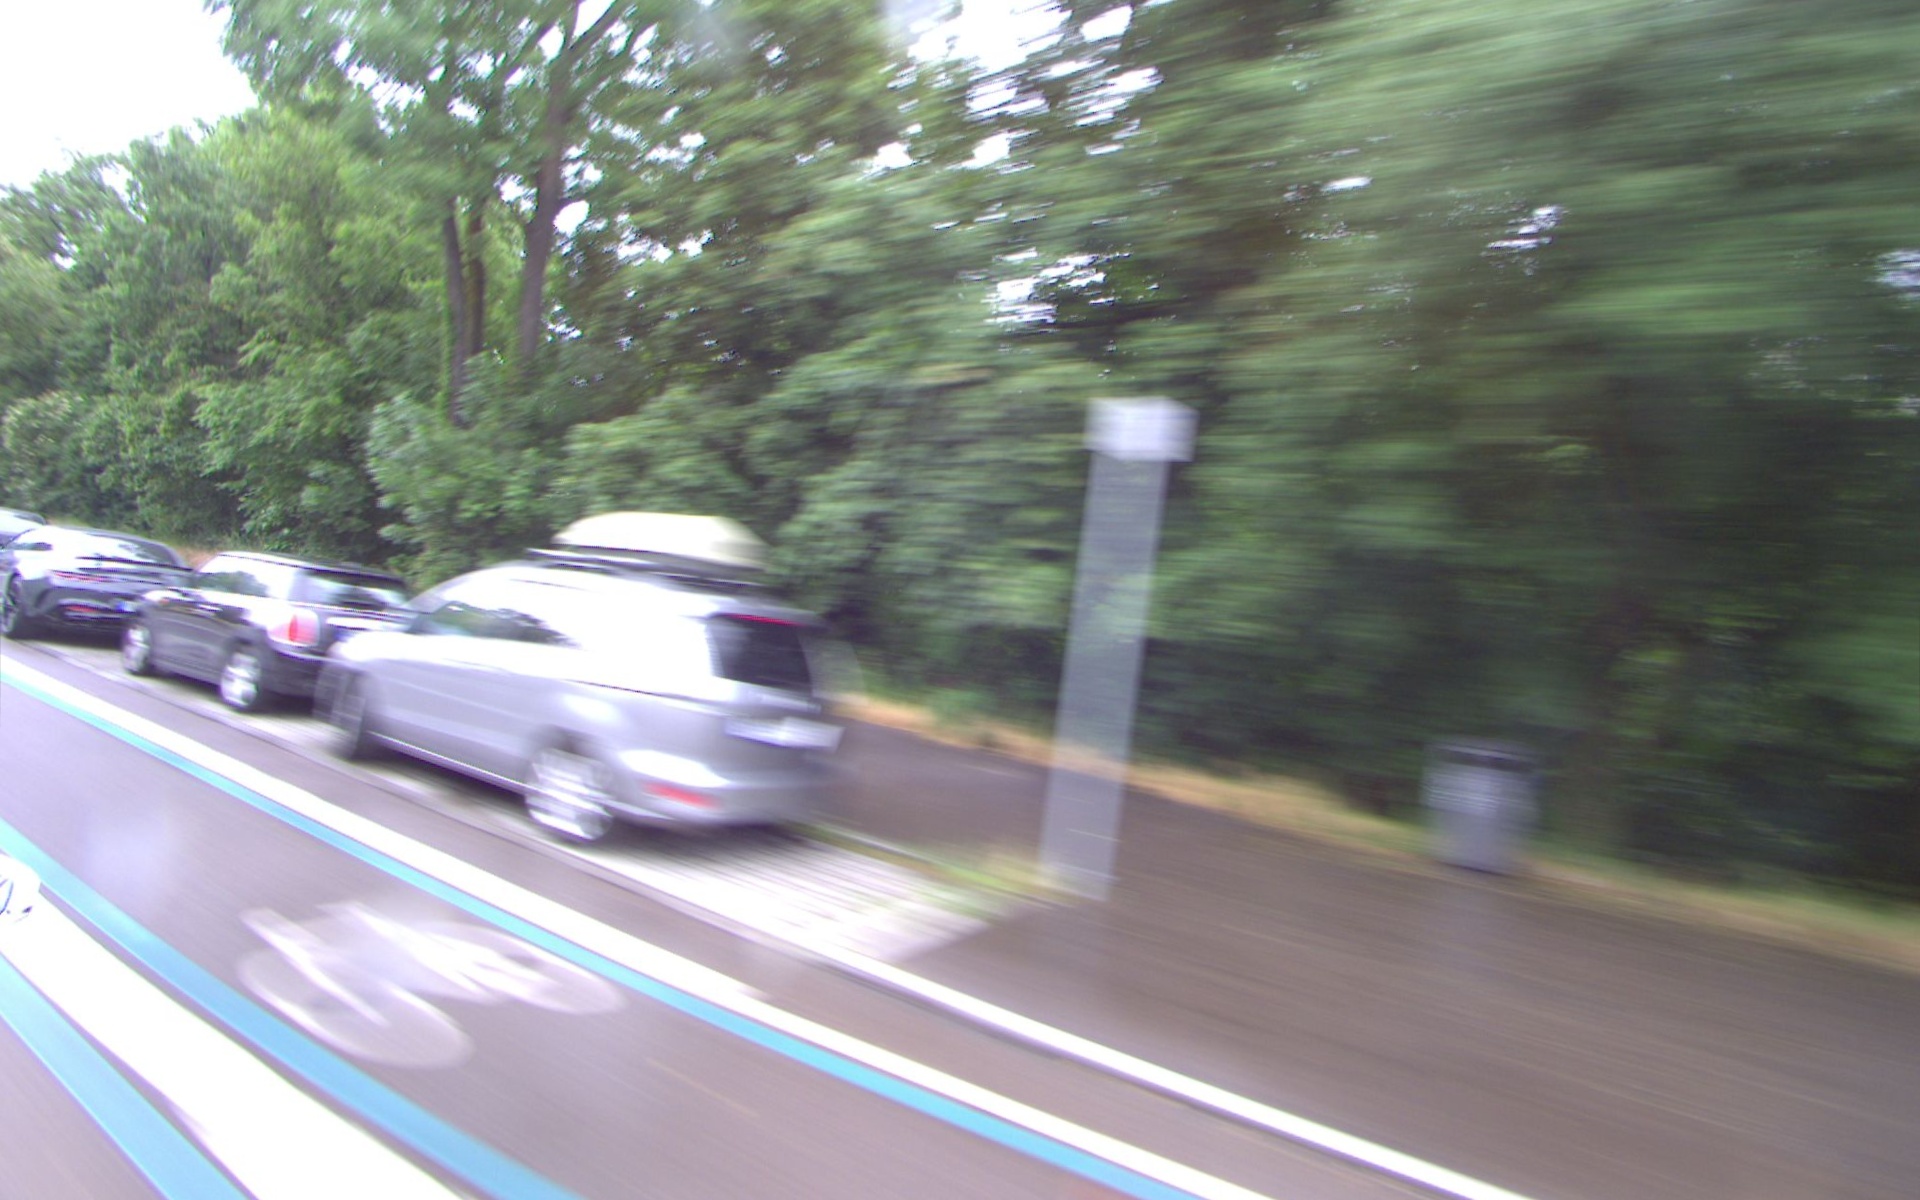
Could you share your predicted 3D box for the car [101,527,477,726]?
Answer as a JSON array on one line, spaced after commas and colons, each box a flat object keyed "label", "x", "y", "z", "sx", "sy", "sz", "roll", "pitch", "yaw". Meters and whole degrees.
[{"label": "car", "x": -6.761, "y": 0.234, "z": 10.062, "sx": 3.644, "sy": 1.428, "sz": 1.701, "roll": 6, "pitch": -3, "yaw": 33}]

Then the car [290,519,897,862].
[{"label": "car", "x": -2.758, "y": 0.503, "z": 7.268, "sx": 4.183, "sy": 1.632, "sz": 1.826, "roll": 6, "pitch": -3, "yaw": 33}]

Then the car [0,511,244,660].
[{"label": "car", "x": -11.260, "y": -0.270, "z": 12.889, "sx": 4.315, "sy": 1.414, "sz": 1.856, "roll": 6, "pitch": -3, "yaw": 34}]

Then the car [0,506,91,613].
[{"label": "car", "x": -16.211, "y": -0.847, "z": 16.501, "sx": 4.677, "sy": 1.471, "sz": 1.858, "roll": 7, "pitch": -2, "yaw": 36}]
